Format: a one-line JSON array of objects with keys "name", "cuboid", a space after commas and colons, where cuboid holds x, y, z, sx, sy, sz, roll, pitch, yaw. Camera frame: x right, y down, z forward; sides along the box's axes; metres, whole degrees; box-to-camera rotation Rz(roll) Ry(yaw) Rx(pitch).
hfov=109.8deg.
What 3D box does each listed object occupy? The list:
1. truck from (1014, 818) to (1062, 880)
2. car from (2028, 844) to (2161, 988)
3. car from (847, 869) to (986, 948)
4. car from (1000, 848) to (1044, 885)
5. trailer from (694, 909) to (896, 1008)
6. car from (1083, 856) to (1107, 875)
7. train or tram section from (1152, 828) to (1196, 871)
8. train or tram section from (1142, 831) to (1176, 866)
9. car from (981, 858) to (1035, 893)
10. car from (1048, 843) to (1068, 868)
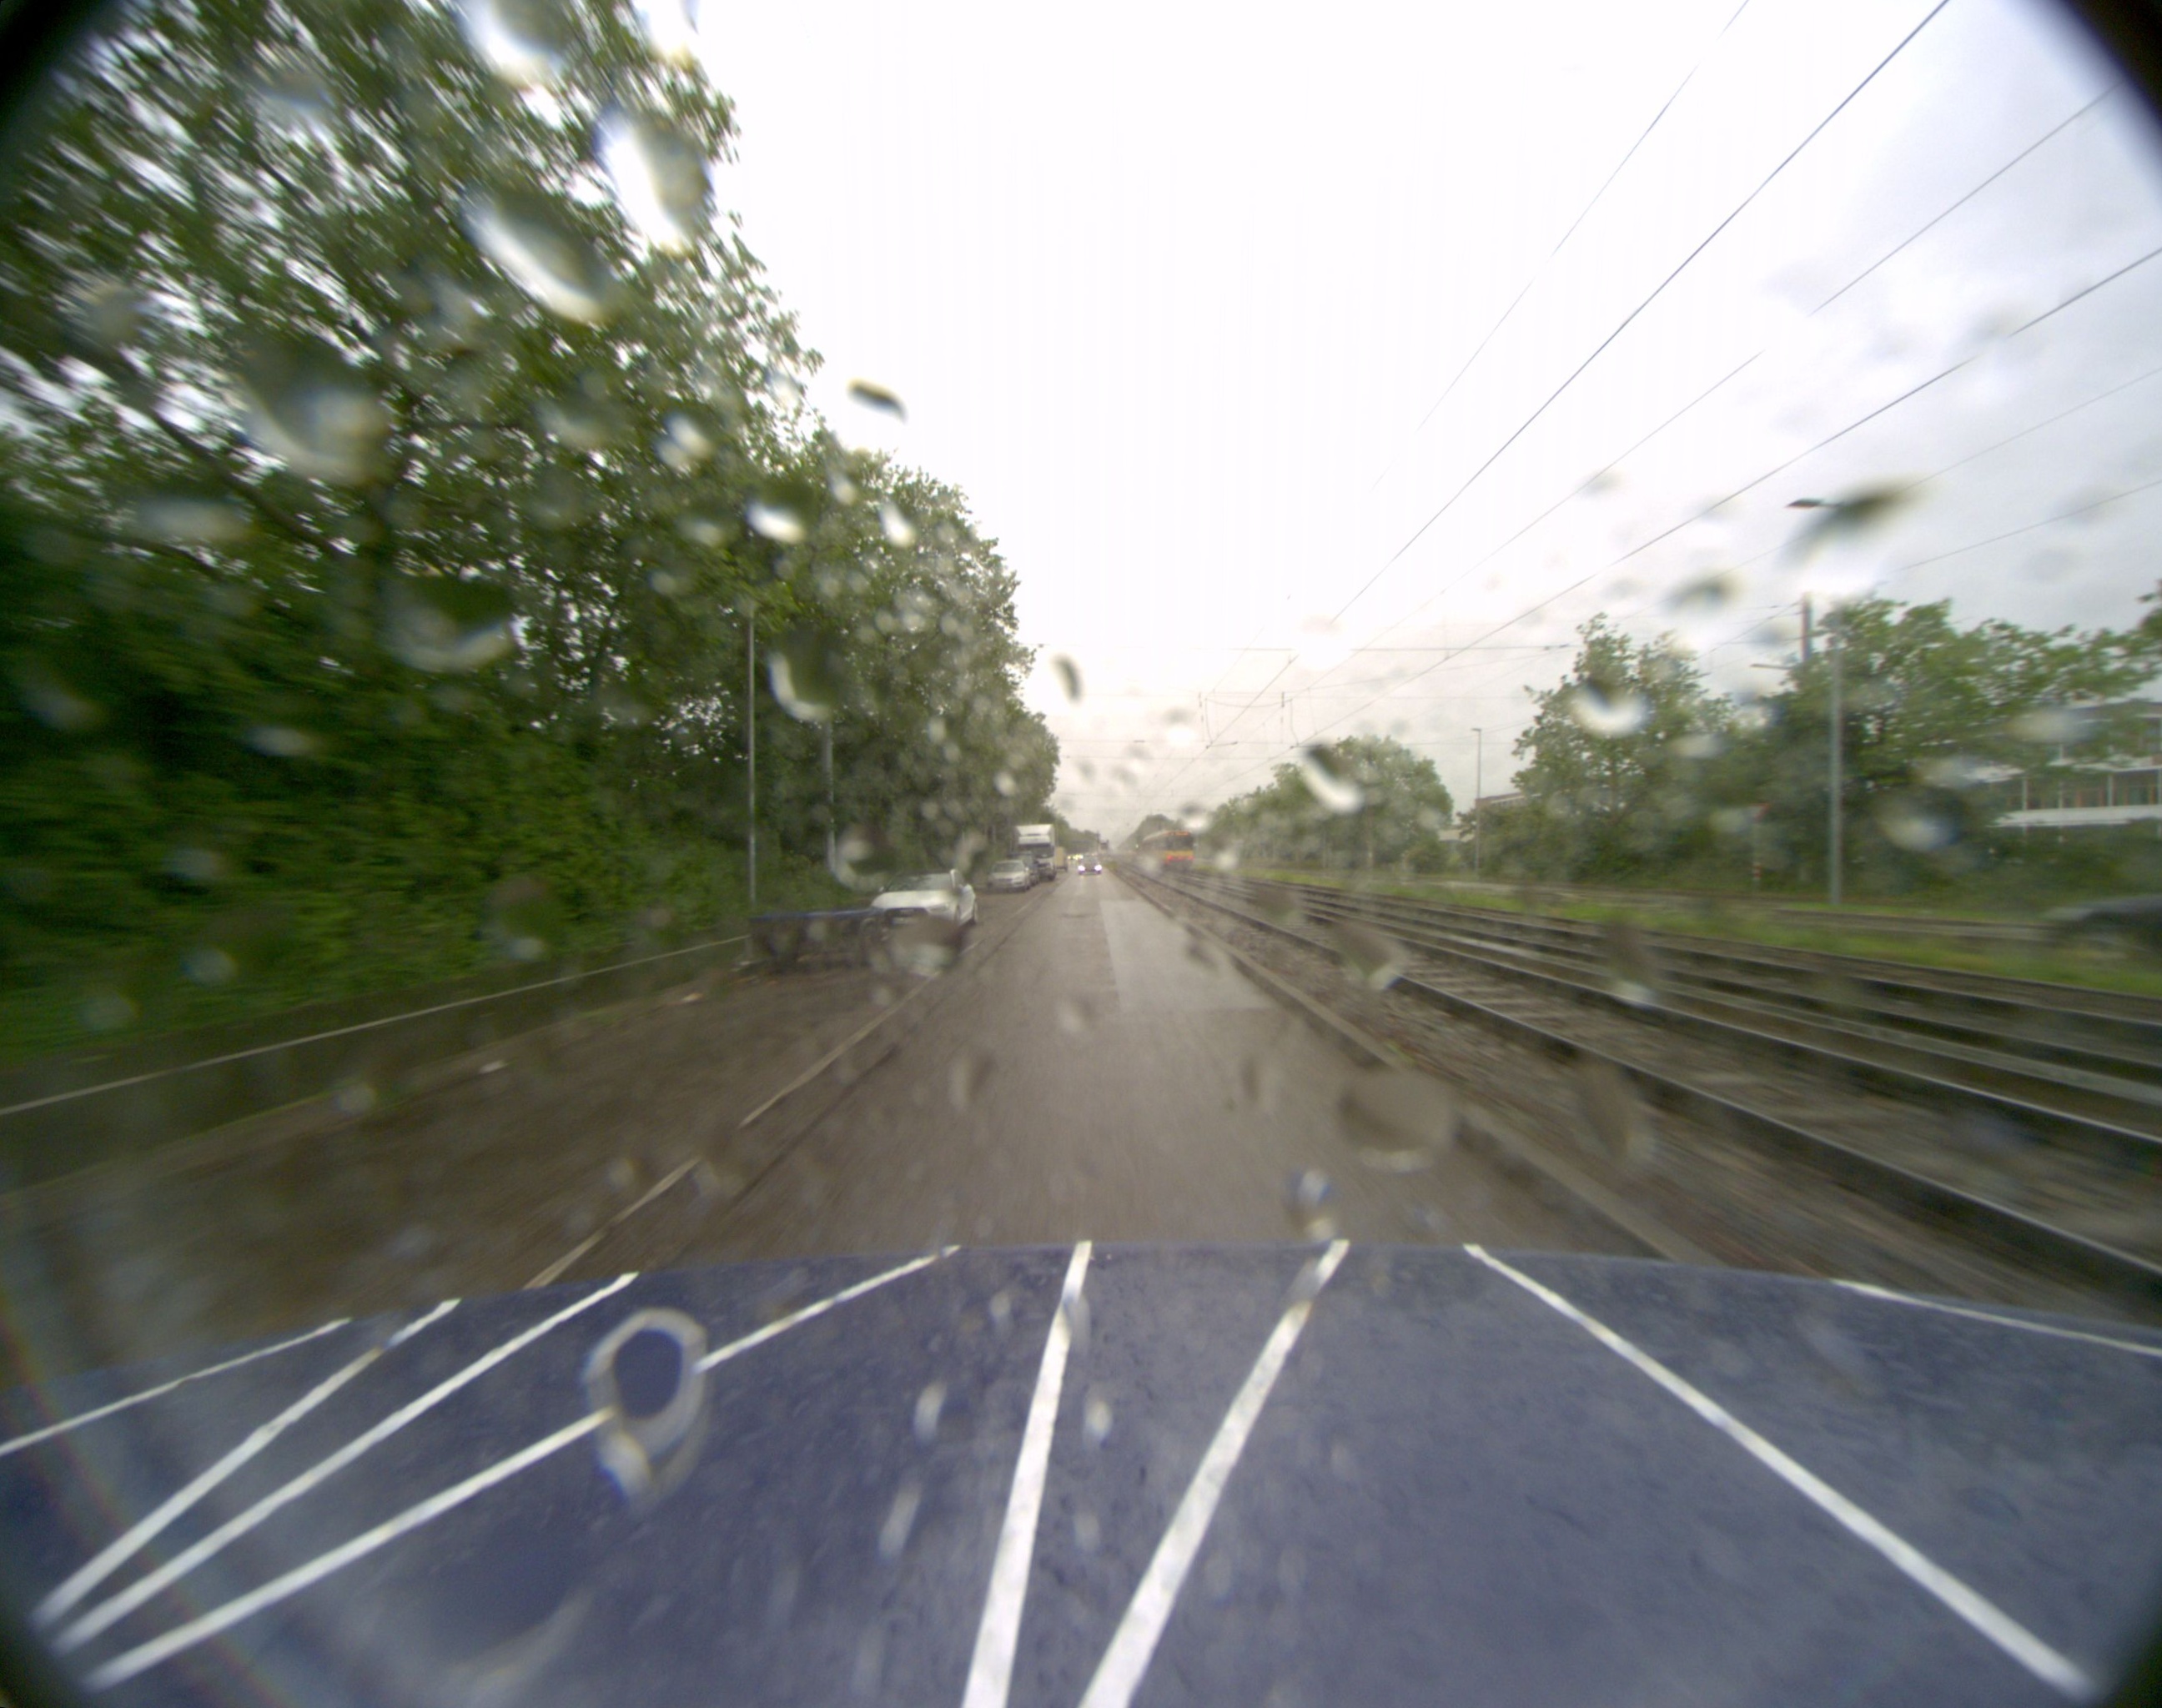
[{"name": "truck", "cuboid": [-2.829, -0.257, 52.274, 2.567, 3.847, 7.847, -2, -1, 1]}, {"name": "car", "cuboid": [12.800, 0.690, 6.985, 1.999, 1.514, 4.956, -2, 1, 0]}, {"name": "car", "cuboid": [-3.378, 1.076, 16.493, 1.998, 1.394, 4.197, -2, -1, 1]}, {"name": "car", "cuboid": [-3.264, 0.714, 42.599, 1.998, 1.897, 4.197, -2, -1, 1]}, {"name": "trailer", "cuboid": [-3.823, 1.366, 10.725, 1.546, 0.931, 3.276, -2, -1, 1]}, {"name": "car", "cuboid": [1.198, 0.998, 65.278, 1.998, 1.497, 4.197, -2, -1, 1]}, {"name": "train or tram section", "cuboid": [8.646, -0.466, 72.460, 2.460, 3.603, 15.105, -2, 1, 1]}, {"name": "train or tram section", "cuboid": [8.842, -0.642, 87.560, 2.460, 3.603, 15.105, -2, 1, 1]}, {"name": "car", "cuboid": [-3.365, 0.988, 35.851, 1.998, 1.497, 4.197, -2, -1, 1]}, {"name": "car", "cuboid": [-2.494, 0.169, 83.198, 1.998, 2.661, 4.197, -2, 0, 1]}]
